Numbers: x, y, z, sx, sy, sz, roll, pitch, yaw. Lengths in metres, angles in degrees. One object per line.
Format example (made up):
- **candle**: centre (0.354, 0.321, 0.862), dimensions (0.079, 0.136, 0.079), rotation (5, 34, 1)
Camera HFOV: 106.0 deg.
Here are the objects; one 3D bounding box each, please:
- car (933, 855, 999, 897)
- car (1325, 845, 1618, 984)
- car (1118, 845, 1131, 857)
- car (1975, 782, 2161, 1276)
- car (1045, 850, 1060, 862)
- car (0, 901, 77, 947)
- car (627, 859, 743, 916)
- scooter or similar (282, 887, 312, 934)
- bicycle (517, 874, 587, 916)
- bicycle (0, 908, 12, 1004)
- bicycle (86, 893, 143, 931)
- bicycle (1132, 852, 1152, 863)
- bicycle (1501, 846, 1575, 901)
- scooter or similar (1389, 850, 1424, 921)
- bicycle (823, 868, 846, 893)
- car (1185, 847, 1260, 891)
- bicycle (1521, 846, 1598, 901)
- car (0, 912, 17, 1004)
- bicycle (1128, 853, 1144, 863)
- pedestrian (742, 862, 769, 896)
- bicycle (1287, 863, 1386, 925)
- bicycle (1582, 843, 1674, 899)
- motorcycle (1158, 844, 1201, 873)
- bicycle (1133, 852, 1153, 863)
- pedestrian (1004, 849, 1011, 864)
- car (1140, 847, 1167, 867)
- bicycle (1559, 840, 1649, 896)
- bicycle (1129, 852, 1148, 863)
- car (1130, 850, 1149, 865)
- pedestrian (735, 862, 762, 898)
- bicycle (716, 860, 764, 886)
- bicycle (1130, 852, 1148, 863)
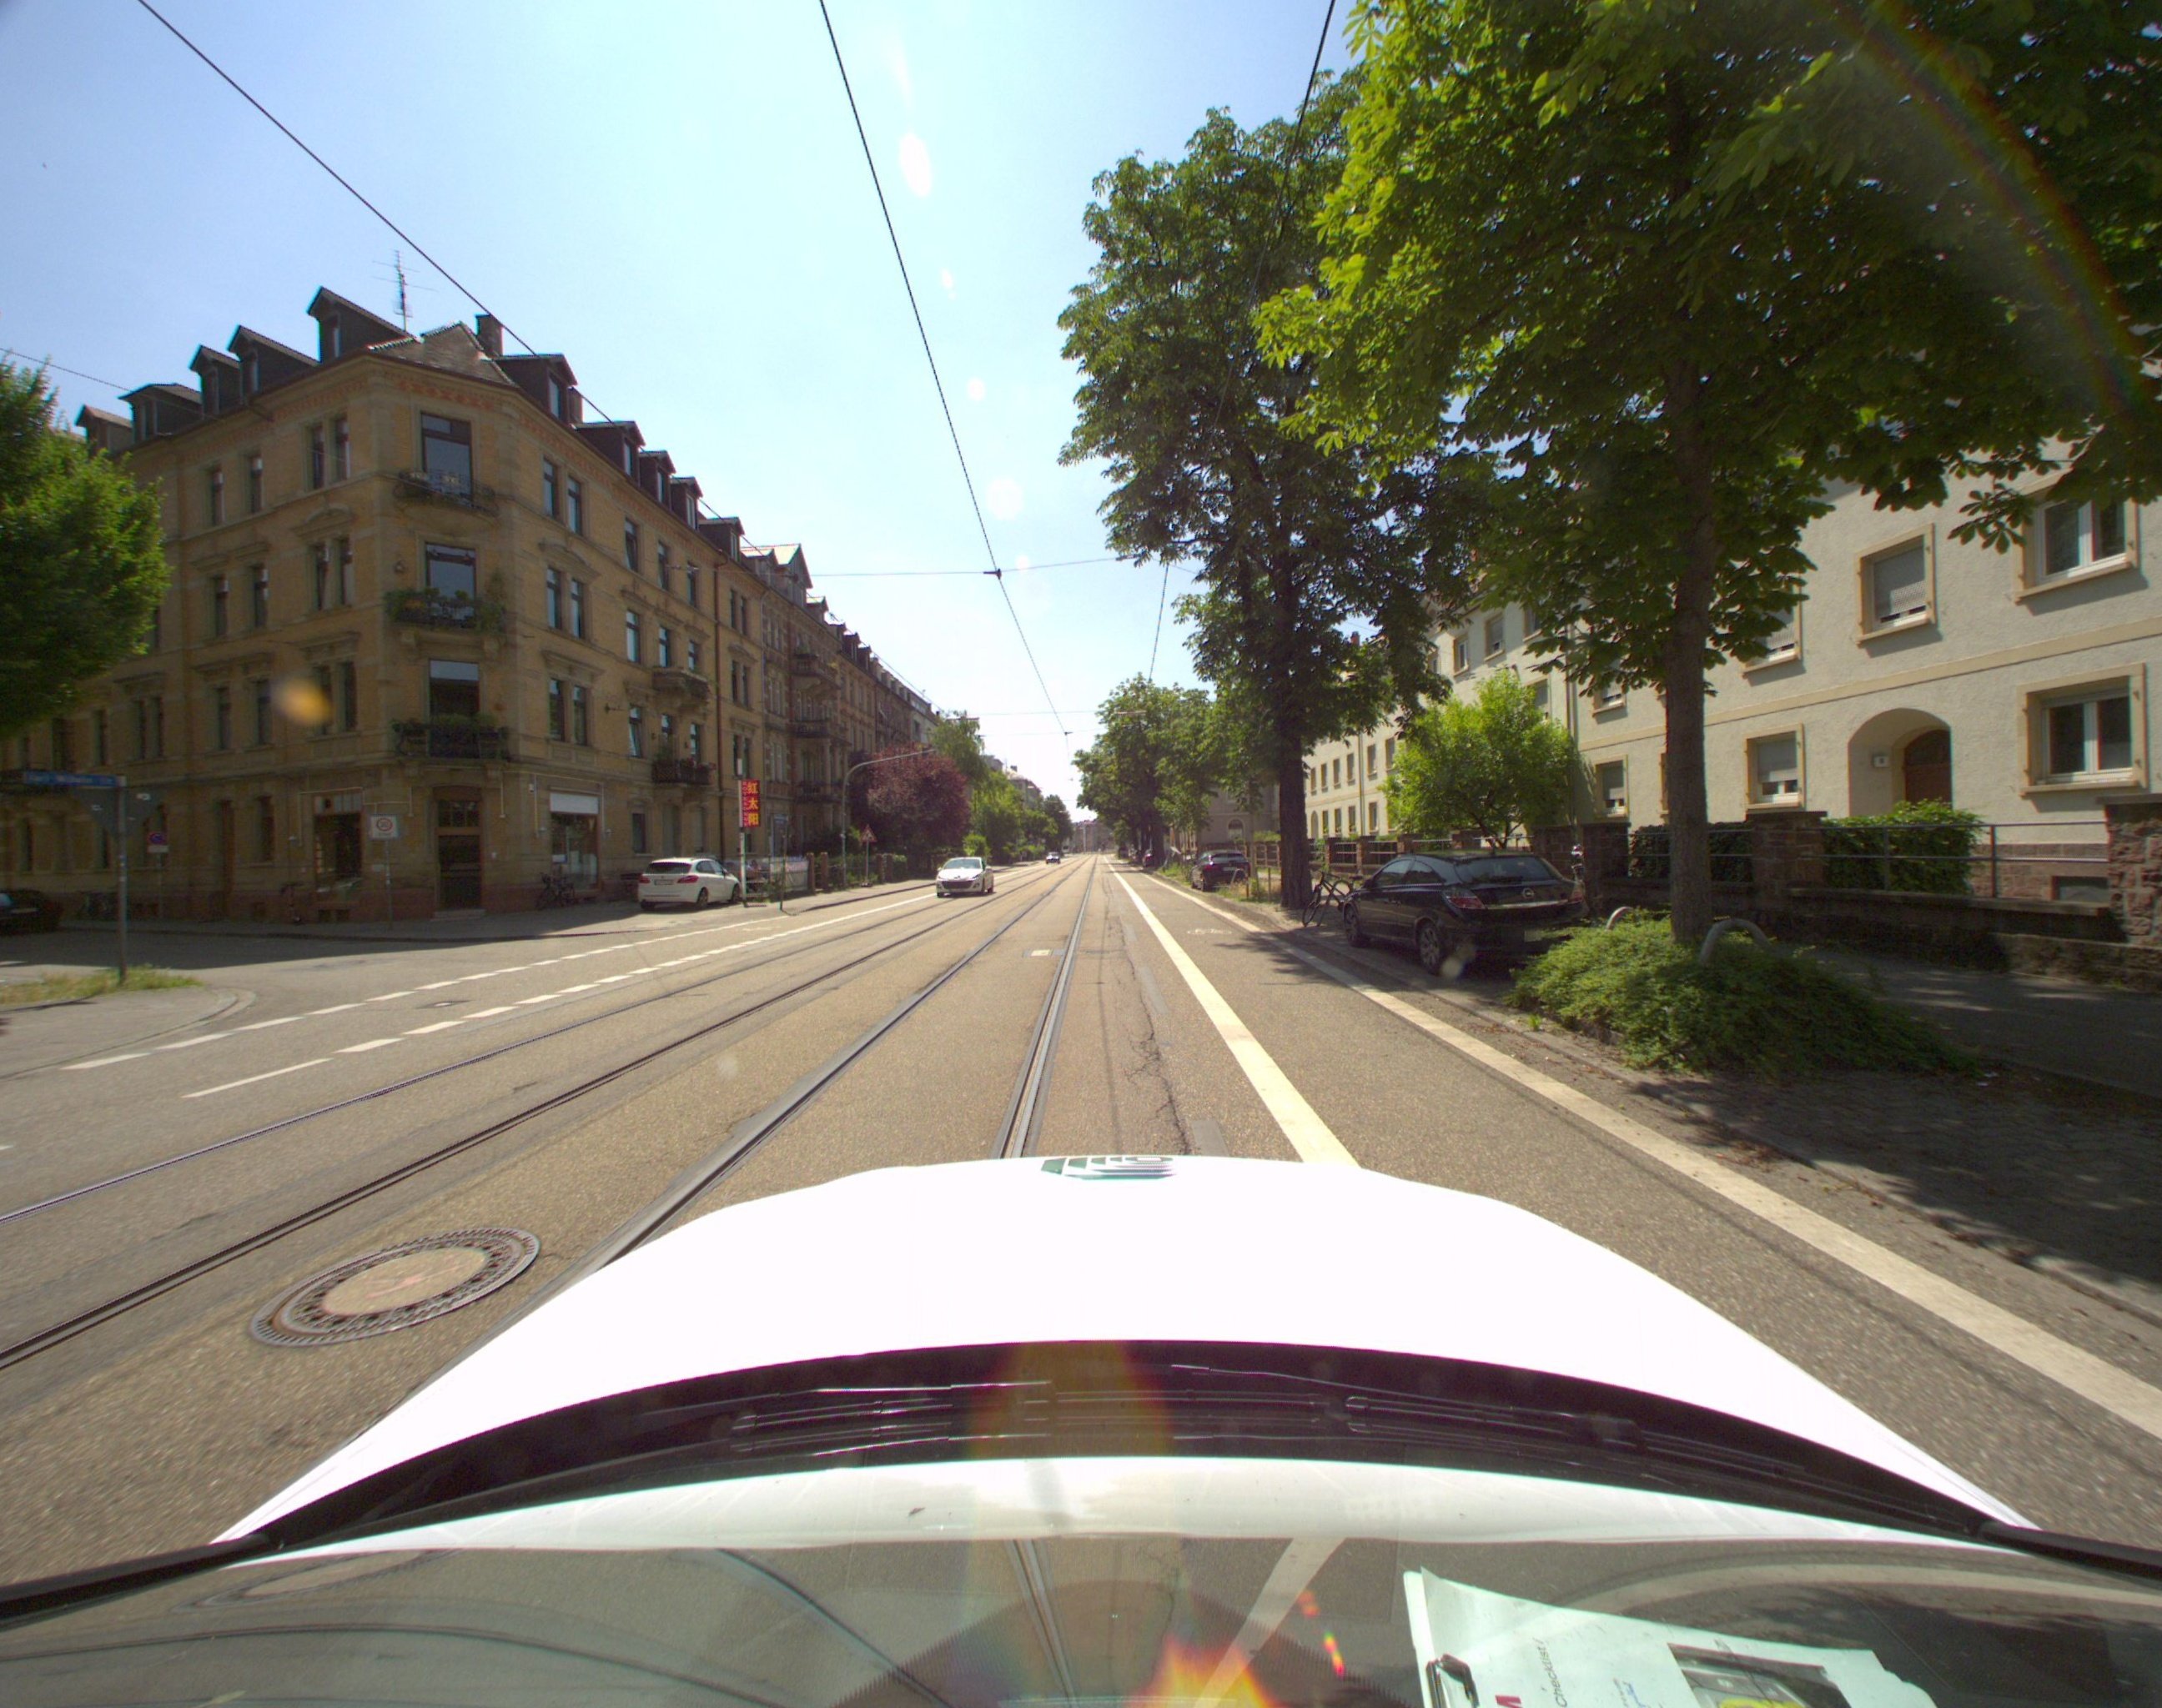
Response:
- **car**: centre (-4.232, 0.778, 30.587), dimensions (1.749, 1.424, 4.001), rotation (-2, 0, 2)
- **car**: centre (4.784, 0.618, 10.779), dimensions (1.690, 1.419, 4.355), rotation (-2, 1, -1)
- **car**: centre (7.440, -0.544, 140.192), dimensions (1.986, 2.035, 4.698), rotation (-2, 1, 1)
- **car**: centre (4.419, 0.582, 0.798), dimensions (1.938, 1.650, 4.885), rotation (-2, 1, 4)
- **car**: centre (-3.559, 0.258, 101.252), dimensions (1.680, 1.454, 3.749), rotation (-1, 0, 1)
- **car**: centre (-33.405, 2.153, 25.211), dimensions (3.952, 1.265, 1.776), rotation (-2, 0, 21)
- **car**: centre (-12.358, 0.989, 25.720), dimensions (1.862, 1.600, 4.096), rotation (0, 0, -4)
- **scooter or similar**: centre (-22.717, 1.620, 23.582), dimensions (1.265, 1.273, 0.500), rotation (-2, 0, 42)
- **bicycle**: centre (-16.332, 1.241, 25.209), dimensions (0.635, 1.187, 2.147), rotation (-1, 0, 4)
- **bicycle**: centre (-14.581, 1.311, 9.891), dimensions (0.495, 1.228, 1.861), rotation (-2, -2, 29)
- **bicycle**: centre (-32.975, 1.974, 27.776), dimensions (2.041, 1.227, 0.644), rotation (-1, 1, 23)
- **bicycle**: centre (6.047, 0.356, 81.060), dimensions (1.879, 1.052, 0.539), rotation (-2, -1, 7)
- **bicycle**: centre (9.523, 0.385, 17.054), dimensions (0.477, 1.078, 1.924), rotation (-1, 0, 1)
- **scooter or similar**: centre (6.303, 0.580, 15.742), dimensions (0.375, 1.212, 1.256), rotation (-1, 4, 31)
- **bicycle**: centre (-10.511, 1.122, 34.771), dimensions (0.453, 1.003, 1.805), rotation (-1, 0, -2)
- **car**: centre (5.115, 0.489, 30.070), dimensions (1.764, 1.426, 4.859), rotation (-2, 1, -1)
- **bicycle**: centre (9.984, 0.375, 17.068), dimensions (0.477, 1.078, 1.924), rotation (-1, 0, 1)
- **car**: centre (-17.215, 1.515, 10.577), dimensions (1.611, 1.339, 3.791), rotation (-2, -2, 21)
- **bicycle**: centre (6.409, 0.481, 95.085), dimensions (1.810, 1.113, 0.493), rotation (-2, -1, 0)
- **pedestrian**: centre (-12.722, 0.970, 31.847), dimensions (0.708, 1.298, 0.710), rotation (-3, 1, -3)
- **bicycle**: centre (4.778, 0.732, 15.273), dimensions (1.651, 1.078, 0.605), rotation (-2, 0, -7)
- **bicycle**: centre (11.347, 0.332, 16.971), dimensions (0.478, 1.078, 1.921), rotation (-1, 0, -4)
- **motorcycle**: centre (5.487, 0.251, 45.545), dimensions (2.291, 1.540, 0.875), rotation (-1, 0, 44)
- **bicycle**: centre (6.170, 0.338, 81.382), dimensions (1.952, 1.063, 0.600), rotation (-2, -1, 7)
- **pedestrian**: centre (-8.532, 0.292, 94.264), dimensions (0.749, 1.629, 0.832), rotation (-1, 0, -4)
- **car**: centre (5.903, 0.193, 67.010), dimensions (1.768, 1.501, 4.305), rotation (-3, 0, 0)
- **bicycle**: centre (10.817, 0.269, 16.926), dimensions (0.478, 1.078, 1.921), rotation (-1, 0, -5)
- **bicycle**: centre (6.431, 0.420, 90.792), dimensions (2.002, 1.113, 0.640), rotation (-2, -1, 3)
- **car**: centre (6.150, 0.337, 85.807), dimensions (1.616, 1.448, 3.810), rotation (-4, 0, 1)
- **pedestrian**: centre (-12.683, 0.992, 31.087), dimensions (0.708, 1.298, 0.710), rotation (-3, 1, -3)
- **bicycle**: centre (-13.684, 0.767, 32.673), dimensions (1.697, 1.003, 0.474), rotation (-1, 0, 4)
- **bicycle**: centre (6.374, 0.421, 90.129), dimensions (1.955, 1.113, 0.599), rotation (-2, -1, 3)
